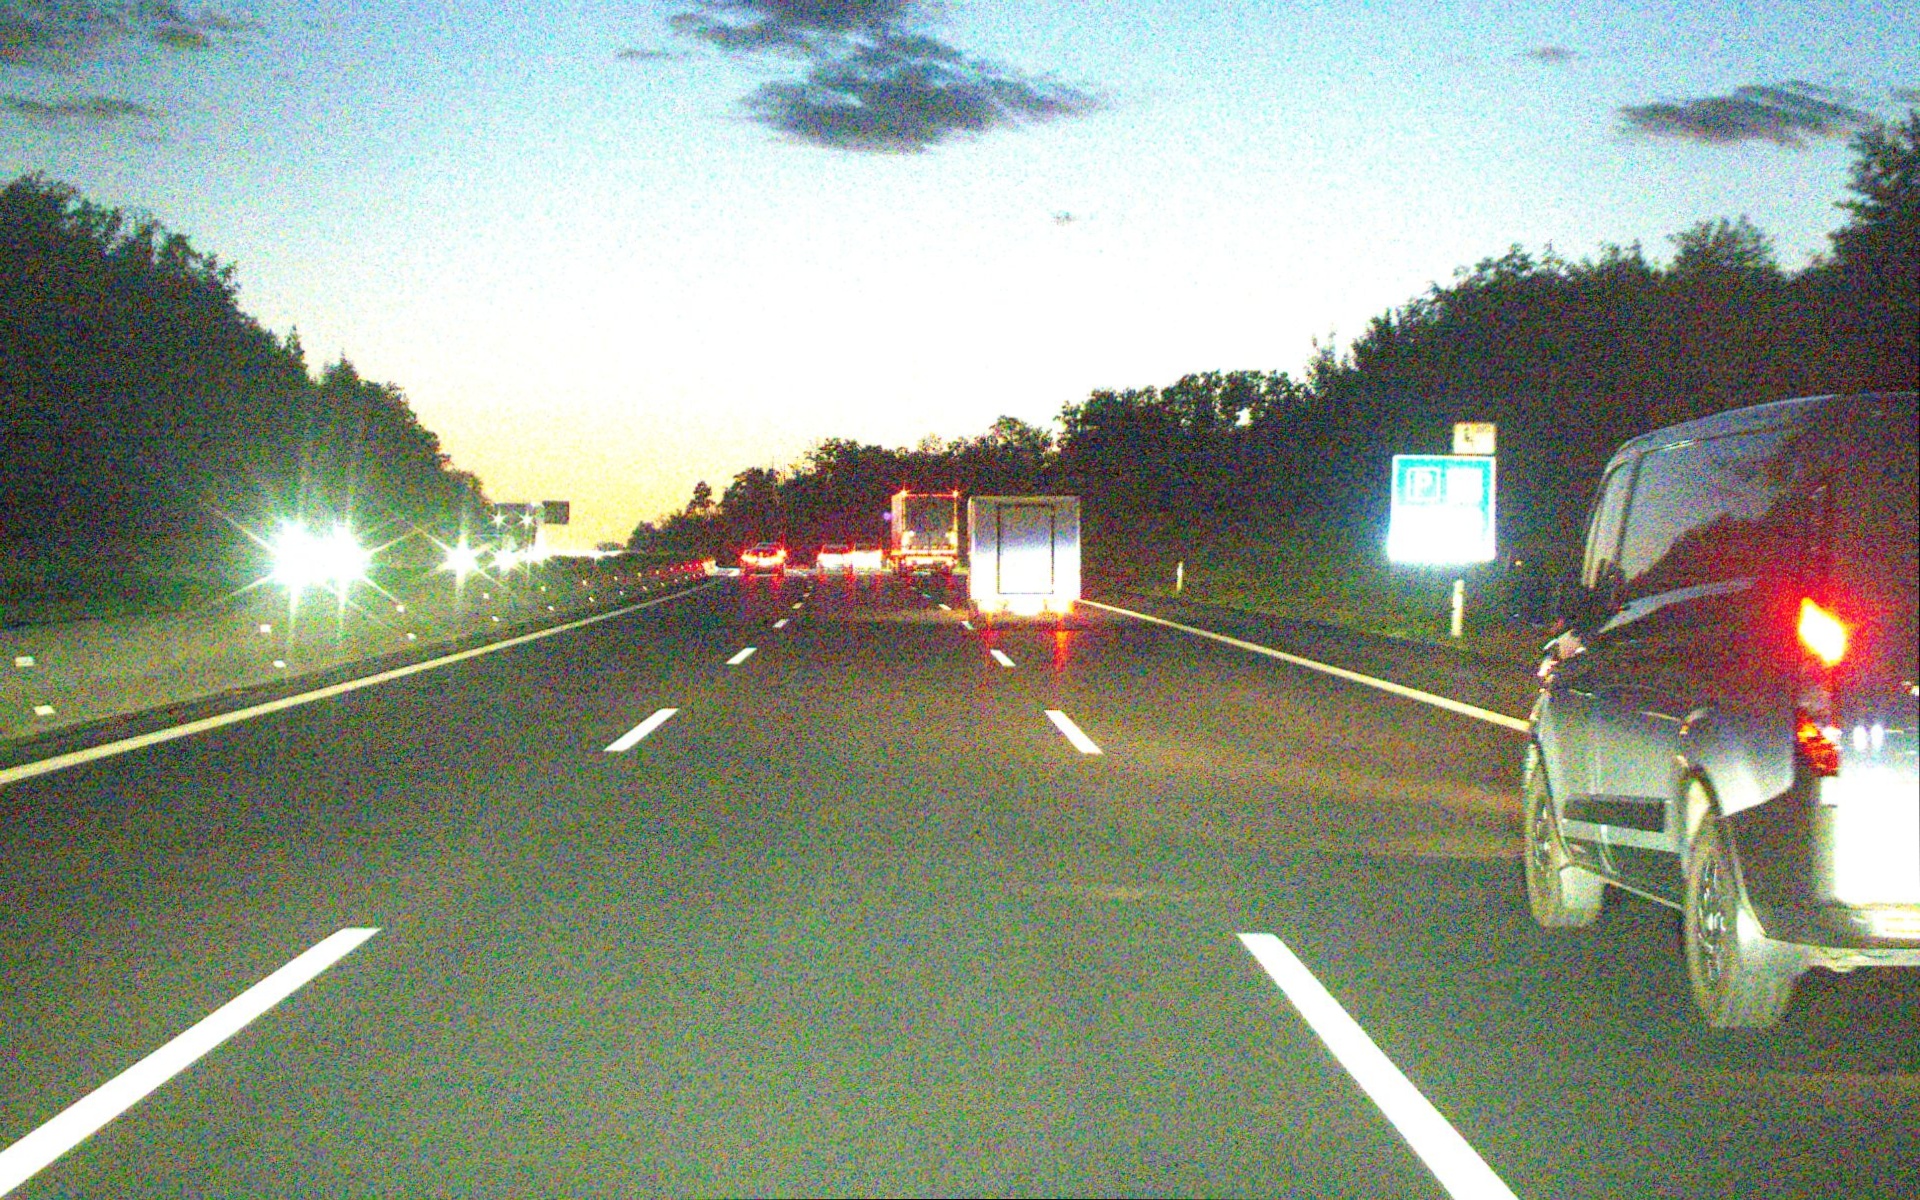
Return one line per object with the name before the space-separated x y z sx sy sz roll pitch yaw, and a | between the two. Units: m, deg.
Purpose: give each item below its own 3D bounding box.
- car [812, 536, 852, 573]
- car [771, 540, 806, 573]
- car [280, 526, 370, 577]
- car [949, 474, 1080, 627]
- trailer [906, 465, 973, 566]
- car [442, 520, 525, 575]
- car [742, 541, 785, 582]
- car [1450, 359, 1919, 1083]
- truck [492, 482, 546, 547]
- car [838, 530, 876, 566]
car | -6.644 -2.338 178.836 1.993 1.788 4.000 1 -1 -1
car | -10.259 -2.596 205.860 1.993 1.810 4.000 1 -1 -2
car | -18.911 -1.454 102.502 2.010 1.462 4.209 1 1 -2
car | 0.931 -0.886 62.389 2.032 2.638 5.725 1 1 -2
trailer | -1.078 -4.021 167.759 2.829 4.242 17.049 1 -1 -2
car | -14.777 -1.615 106.809 2.010 1.664 4.483 0 1 0
car | -9.211 -1.807 161.287 1.993 1.788 4.000 1 -1 -3
car | 3.271 0.312 12.324 2.115 1.994 5.664 1 1 -1
truck | -27.485 -5.282 214.510 2.853 3.966 5.861 1 1 -3
car | -6.380 -3.220 212.495 1.993 2.110 4.000 1 -1 -6
